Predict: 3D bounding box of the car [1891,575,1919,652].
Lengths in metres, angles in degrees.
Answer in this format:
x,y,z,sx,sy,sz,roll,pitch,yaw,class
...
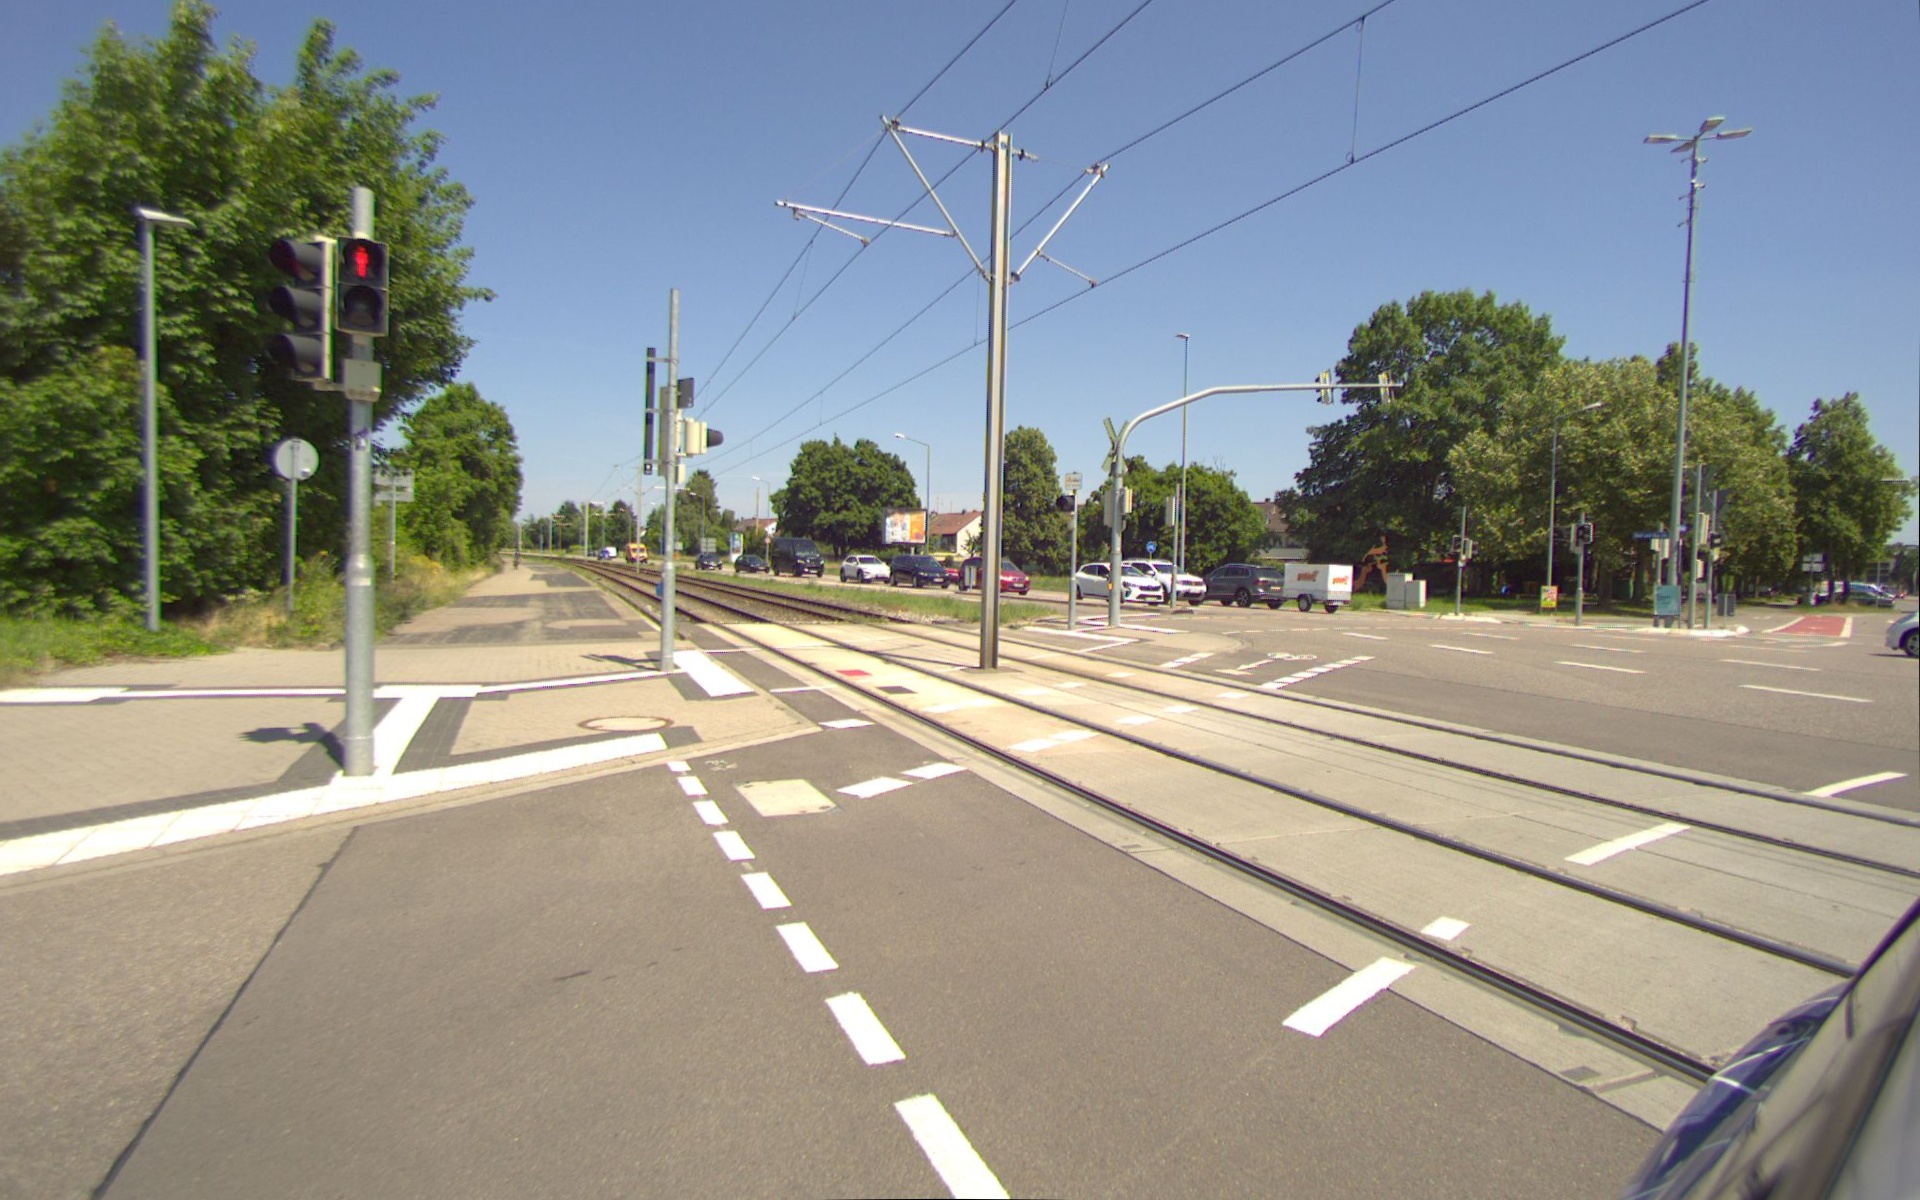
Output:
x,y,z,sx,sy,sz,roll,pitch,yaw,class
20.598,0.372,19.227,1.696,1.523,3.905,1,2,-27,car

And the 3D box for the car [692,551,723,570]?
x,y,z,sx,sy,sz,roll,pitch,yaw,class
-22.511,-3.511,90.175,1.836,1.595,4.421,2,2,-25,car

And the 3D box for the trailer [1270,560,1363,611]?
x,y,z,sx,sy,sz,roll,pitch,yaw,class
12.573,-0.536,35.844,1.380,1.675,2.943,2,2,-26,trailer

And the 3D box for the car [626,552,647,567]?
x,y,z,sx,sy,sz,roll,pitch,yaw,class
-39.896,-5.014,124.867,1.836,1.706,4.421,2,2,-25,car

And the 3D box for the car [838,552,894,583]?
x,y,z,sx,sy,sz,roll,pitch,yaw,class
-5.283,-1.846,56.433,1.695,1.595,4.421,2,2,-25,car

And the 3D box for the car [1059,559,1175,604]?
x,y,z,sx,sy,sz,roll,pitch,yaw,class
5.413,-0.677,35.526,1.836,1.406,4.421,2,2,-25,car

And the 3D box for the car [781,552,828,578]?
x,y,z,sx,sy,sz,roll,pitch,yaw,class
-10.390,-2.351,67.463,1.836,1.595,4.421,2,2,-26,car

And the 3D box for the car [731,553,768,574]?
x,y,z,sx,sy,sz,roll,pitch,yaw,class
-16.666,-2.903,79.837,1.836,1.595,4.421,2,2,-25,car

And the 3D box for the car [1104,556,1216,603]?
x,y,z,sx,sy,sz,roll,pitch,yaw,class
7.478,-0.810,38.320,1.836,1.595,4.421,2,2,-25,car

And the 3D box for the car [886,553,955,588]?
x,y,z,sx,sy,sz,roll,pitch,yaw,class
-2.025,-1.495,50.251,1.836,1.595,4.421,2,2,-25,car

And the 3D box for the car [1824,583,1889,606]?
x,y,z,sx,sy,sz,roll,pitch,yaw,class
70.693,-0.448,79.875,3.759,1.750,1.735,2,0,42,car

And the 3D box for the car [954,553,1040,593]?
x,y,z,sx,sy,sz,roll,pitch,yaw,class
1.524,-1.207,43.733,1.836,1.595,4.421,2,2,-25,car

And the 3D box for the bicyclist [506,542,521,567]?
x,y,z,sx,sy,sz,roll,pitch,yaw,class
-36.603,-3.720,82.927,1.053,2.038,1.188,-2,3,-25,bicyclist

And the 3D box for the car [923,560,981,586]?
x,y,z,sx,sy,sz,roll,pitch,yaw,class
-0.516,-1.607,59.692,1.729,1.365,4.321,2,2,-25,car

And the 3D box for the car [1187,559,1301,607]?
x,y,z,sx,sy,sz,roll,pitch,yaw,class
10.887,-0.688,39.130,1.696,1.678,4.417,2,2,-26,car

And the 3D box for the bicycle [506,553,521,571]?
x,y,z,sx,sy,sz,roll,pitch,yaw,class
-36.612,-3.113,82.987,1.042,1.362,2.702,-3,4,-25,bicycle

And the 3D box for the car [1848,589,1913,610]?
x,y,z,sx,sy,sz,roll,pitch,yaw,class
68.393,-0.054,75.245,3.479,1.495,1.560,2,0,42,car

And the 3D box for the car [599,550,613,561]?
x,y,z,sx,sy,sz,roll,pitch,yaw,class
-62.276,-7.815,177.983,1.737,1.777,4.007,3,1,-27,car
